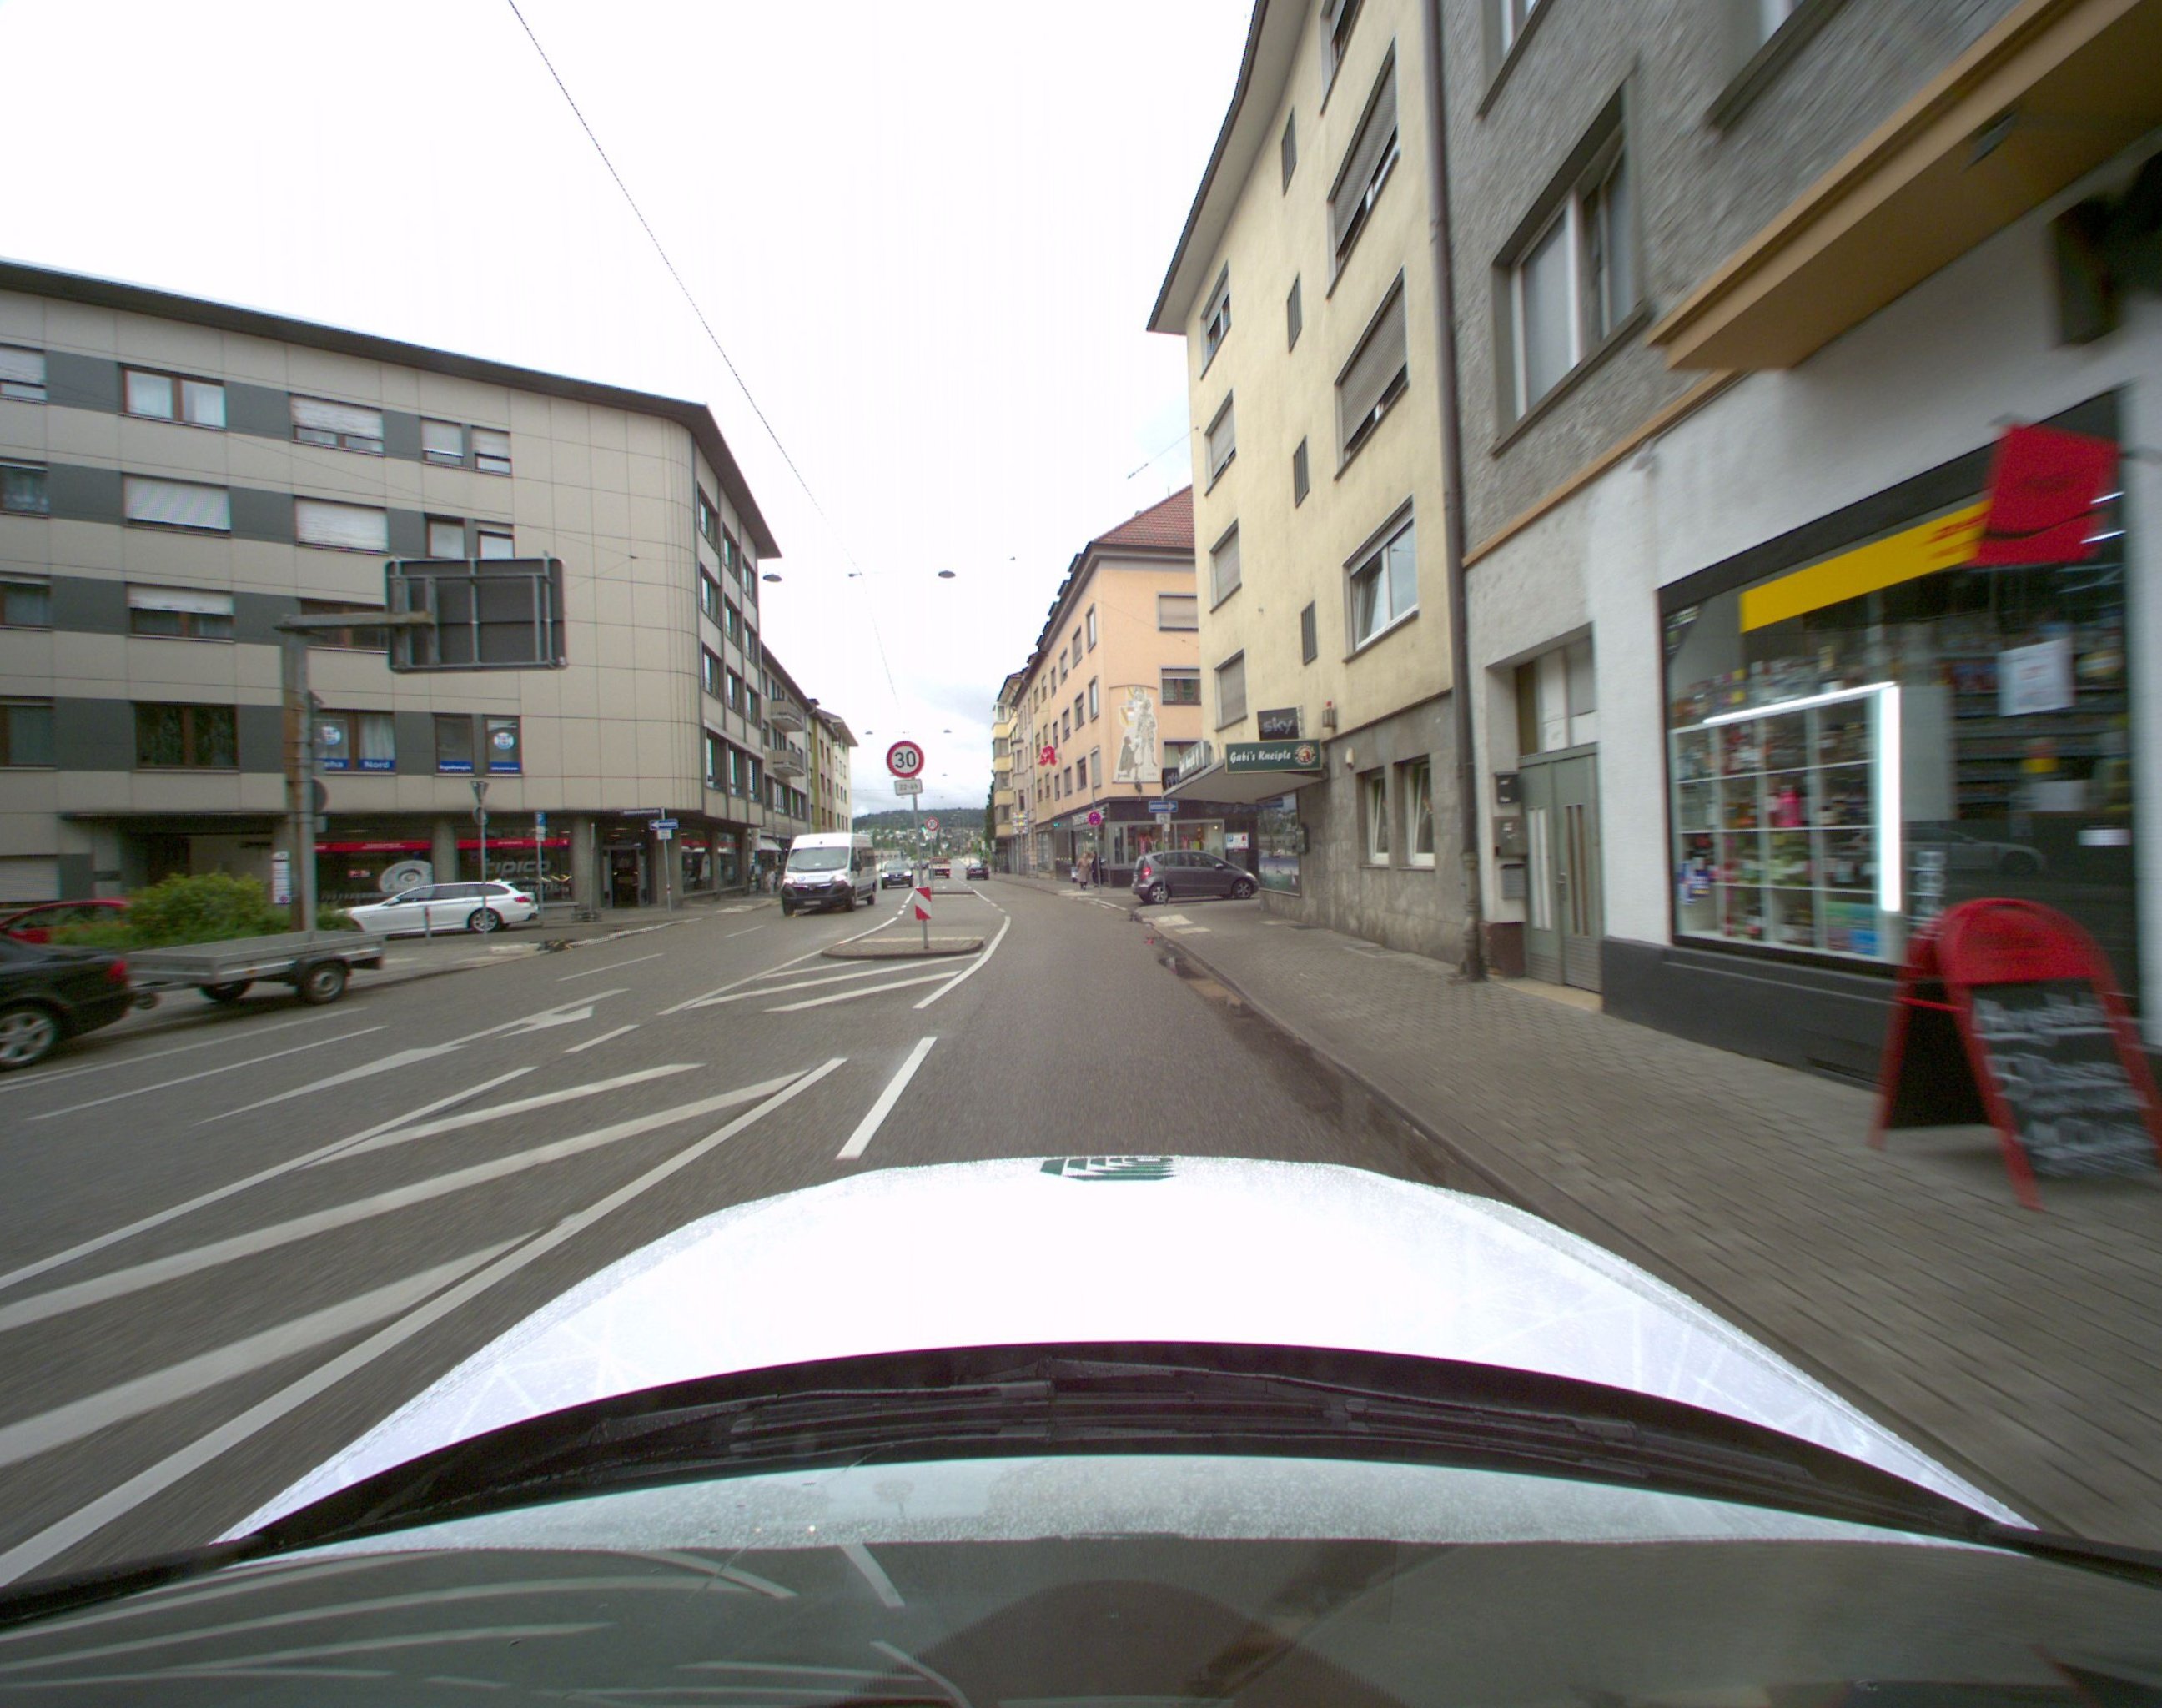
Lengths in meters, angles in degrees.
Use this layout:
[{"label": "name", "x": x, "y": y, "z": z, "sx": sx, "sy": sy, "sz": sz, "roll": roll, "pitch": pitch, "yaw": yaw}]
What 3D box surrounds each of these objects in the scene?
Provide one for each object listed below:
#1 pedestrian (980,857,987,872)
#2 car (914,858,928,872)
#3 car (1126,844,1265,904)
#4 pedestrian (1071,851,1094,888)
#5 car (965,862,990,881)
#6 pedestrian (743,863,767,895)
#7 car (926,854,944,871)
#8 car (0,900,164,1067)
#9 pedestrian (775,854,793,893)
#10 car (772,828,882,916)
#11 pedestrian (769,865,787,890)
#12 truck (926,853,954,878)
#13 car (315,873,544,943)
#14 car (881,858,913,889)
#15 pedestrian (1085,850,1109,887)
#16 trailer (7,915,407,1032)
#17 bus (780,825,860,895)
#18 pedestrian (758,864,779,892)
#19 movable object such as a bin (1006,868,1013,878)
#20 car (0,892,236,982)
[{"label": "pedestrian", "x": -12.188, "y": 1.301, "z": 101.622, "sx": 0.733, "sy": 1.841, "sz": 0.628, "roll": -3, "pitch": -1, "yaw": -12}, {"label": "car", "x": -24.335, "y": 1.708, "z": 123.762, "sx": 1.996, "sy": 2.014, "sz": 3.982, "roll": -3, "pitch": -1, "yaw": -13}, {"label": "car", "x": 3.456, "y": 0.601, "z": 25.007, "sx": 3.823, "sy": 1.574, "sz": 1.931, "roll": -3, "pitch": -1, "yaw": -8}, {"label": "pedestrian", "x": 0.066, "y": 0.674, "z": 35.064, "sx": 0.779, "sy": 1.560, "sz": 0.779, "roll": -3, "pitch": -1, "yaw": -12}, {"label": "car", "x": -8.548, "y": 1.439, "z": 66.963, "sx": 1.754, "sy": 1.479, "sz": 3.985, "roll": -2, "pitch": -1, "yaw": -10}, {"label": "pedestrian", "x": -16.840, "y": 1.270, "z": 42.106, "sx": 0.945, "sy": 1.589, "sz": 0.832, "roll": -3, "pitch": -1, "yaw": -8}, {"label": "car", "x": -18.616, "y": 1.090, "z": 104.045, "sx": 1.996, "sy": 2.014, "sz": 3.982, "roll": -3, "pitch": -1, "yaw": -13}, {"label": "car", "x": -10.465, "y": 1.175, "z": 6.104, "sx": 1.845, "sy": 1.397, "sz": 4.788, "roll": 1, "pitch": 0, "yaw": -2}, {"label": "pedestrian", "x": -15.761, "y": 1.017, "z": 43.179, "sx": 0.678, "sy": 2.014, "sz": 0.774, "roll": -3, "pitch": -1, "yaw": -8}, {"label": "car", "x": -8.023, "y": 0.552, "z": 26.443, "sx": 2.083, "sy": 2.435, "sz": 6.339, "roll": -3, "pitch": -1, "yaw": -6}, {"label": "pedestrian", "x": -17.589, "y": 1.349, "z": 47.330, "sx": 0.775, "sy": 1.404, "sz": 0.752, "roll": -3, "pitch": -1, "yaw": -8}, {"label": "truck", "x": -13.209, "y": 1.110, "z": 76.181, "sx": 2.401, "sy": 2.129, "sz": 5.295, "roll": -3, "pitch": -1, "yaw": -11}, {"label": "car", "x": -17.738, "y": 1.416, "z": 22.527, "sx": 4.658, "sy": 1.533, "sz": 1.887, "roll": -2, "pitch": -1, "yaw": -31}, {"label": "car", "x": -11.163, "y": 1.147, "z": 49.688, "sx": 1.744, "sy": 1.662, "sz": 4.400, "roll": -3, "pitch": 0, "yaw": -12}, {"label": "pedestrian", "x": 0.687, "y": 0.637, "z": 35.421, "sx": 0.769, "sy": 1.560, "sz": 0.872, "roll": -3, "pitch": -1, "yaw": -12}, {"label": "trailer", "x": -10.431, "y": 1.371, "z": 10.076, "sx": 1.583, "sy": 0.949, "sz": 3.055, "roll": 2, "pitch": 0, "yaw": 0}, {"label": "bus", "x": -13.520, "y": 0.349, "z": 42.891, "sx": 2.759, "sy": 3.188, "sz": 8.878, "roll": -3, "pitch": -1, "yaw": -11}, {"label": "pedestrian", "x": -16.150, "y": 1.239, "z": 42.123, "sx": 0.768, "sy": 1.396, "sz": 0.784, "roll": -3, "pitch": -1, "yaw": -8}, {"label": "movable object such as a bin", "x": -7.096, "y": 1.870, "z": 80.945, "sx": 0.600, "sy": 0.926, "sz": 0.702, "roll": -3, "pitch": -1, "yaw": -11}, {"label": "car", "x": -19.491, "y": 1.600, "z": 16.024, "sx": 3.530, "sy": 1.482, "sz": 1.680, "roll": -3, "pitch": -1, "yaw": -23}]
